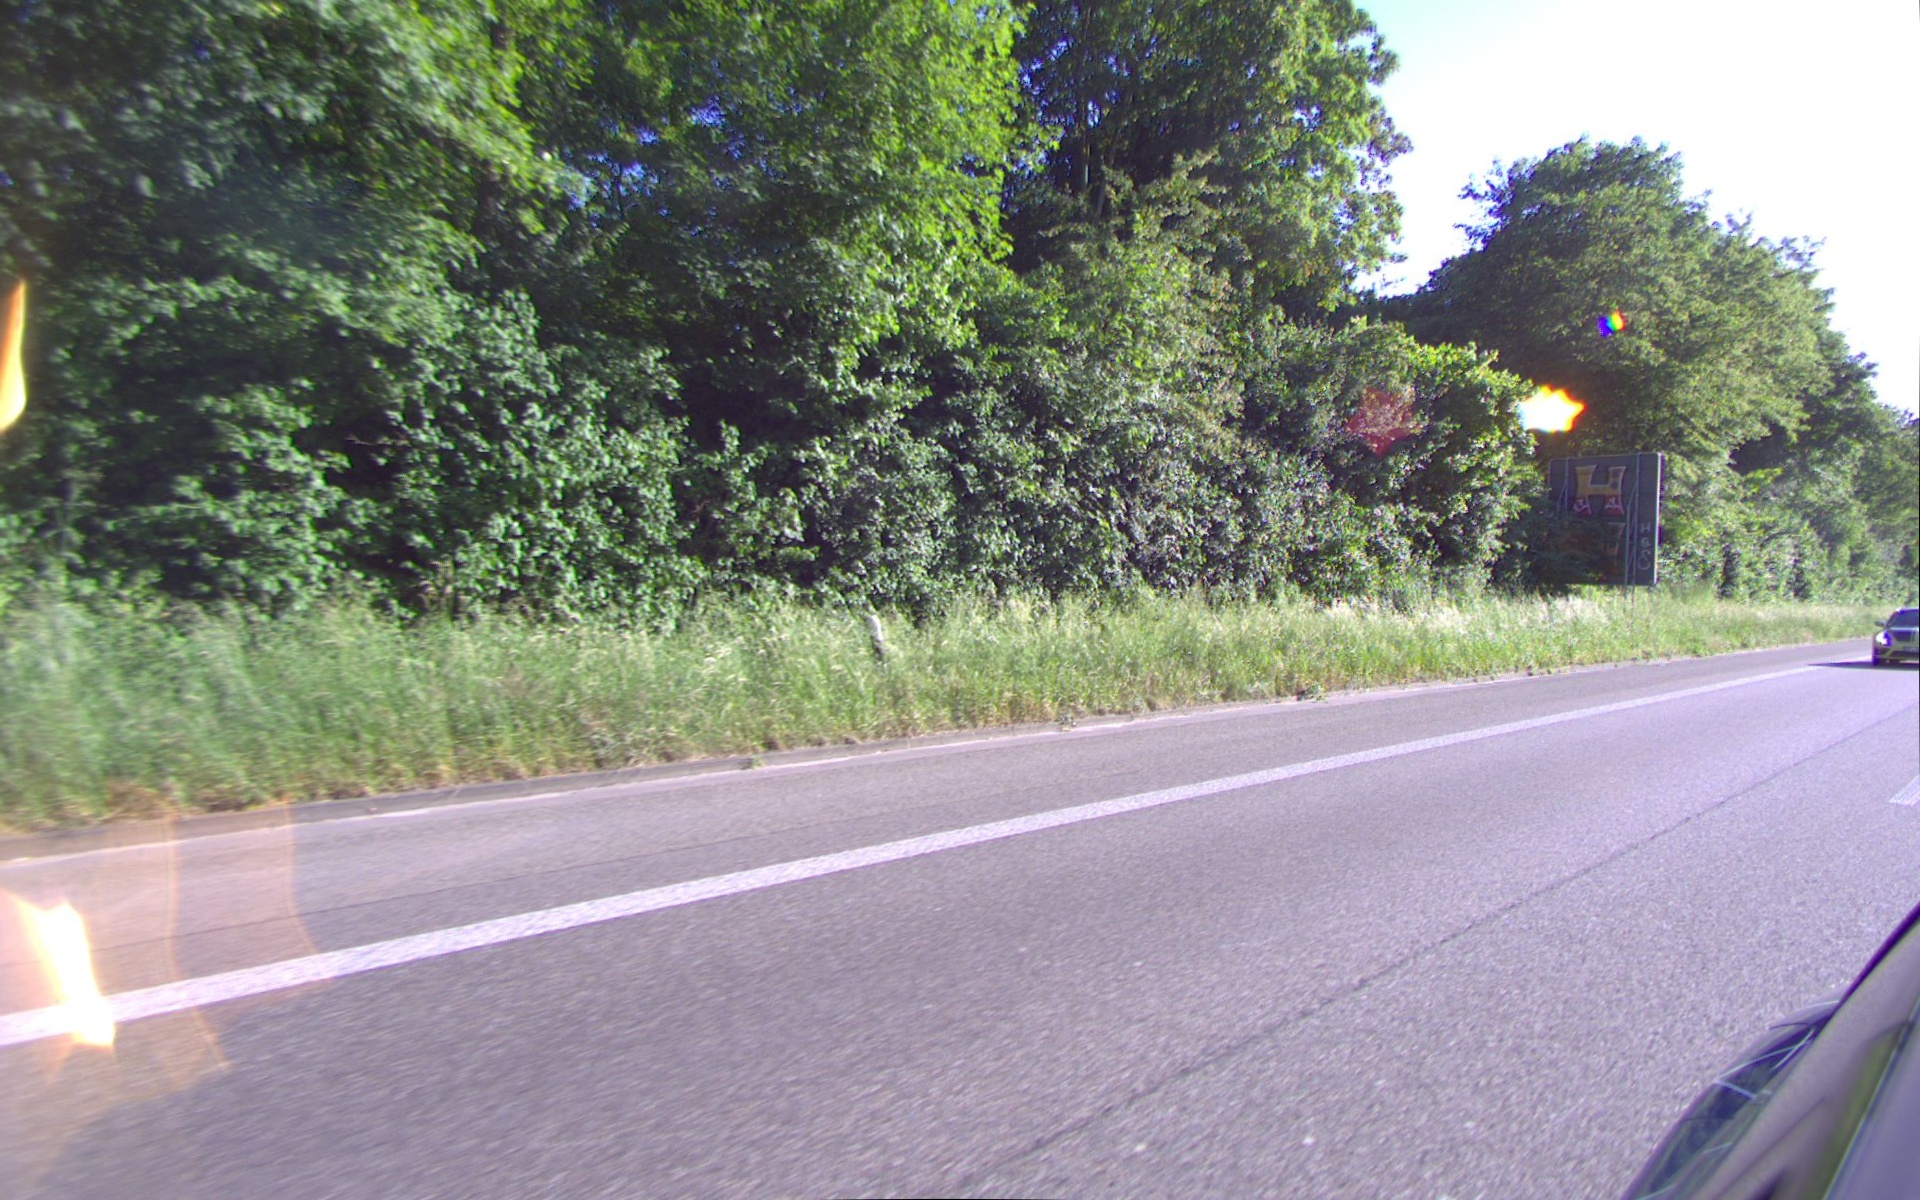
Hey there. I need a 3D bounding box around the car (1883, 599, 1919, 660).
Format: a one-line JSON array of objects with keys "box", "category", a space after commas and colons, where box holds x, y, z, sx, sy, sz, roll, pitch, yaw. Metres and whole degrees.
[{"box": [24.516, 0.719, 25.281, 3.810, 1.467, 1.793, 0, 0, -42], "category": "car"}]
